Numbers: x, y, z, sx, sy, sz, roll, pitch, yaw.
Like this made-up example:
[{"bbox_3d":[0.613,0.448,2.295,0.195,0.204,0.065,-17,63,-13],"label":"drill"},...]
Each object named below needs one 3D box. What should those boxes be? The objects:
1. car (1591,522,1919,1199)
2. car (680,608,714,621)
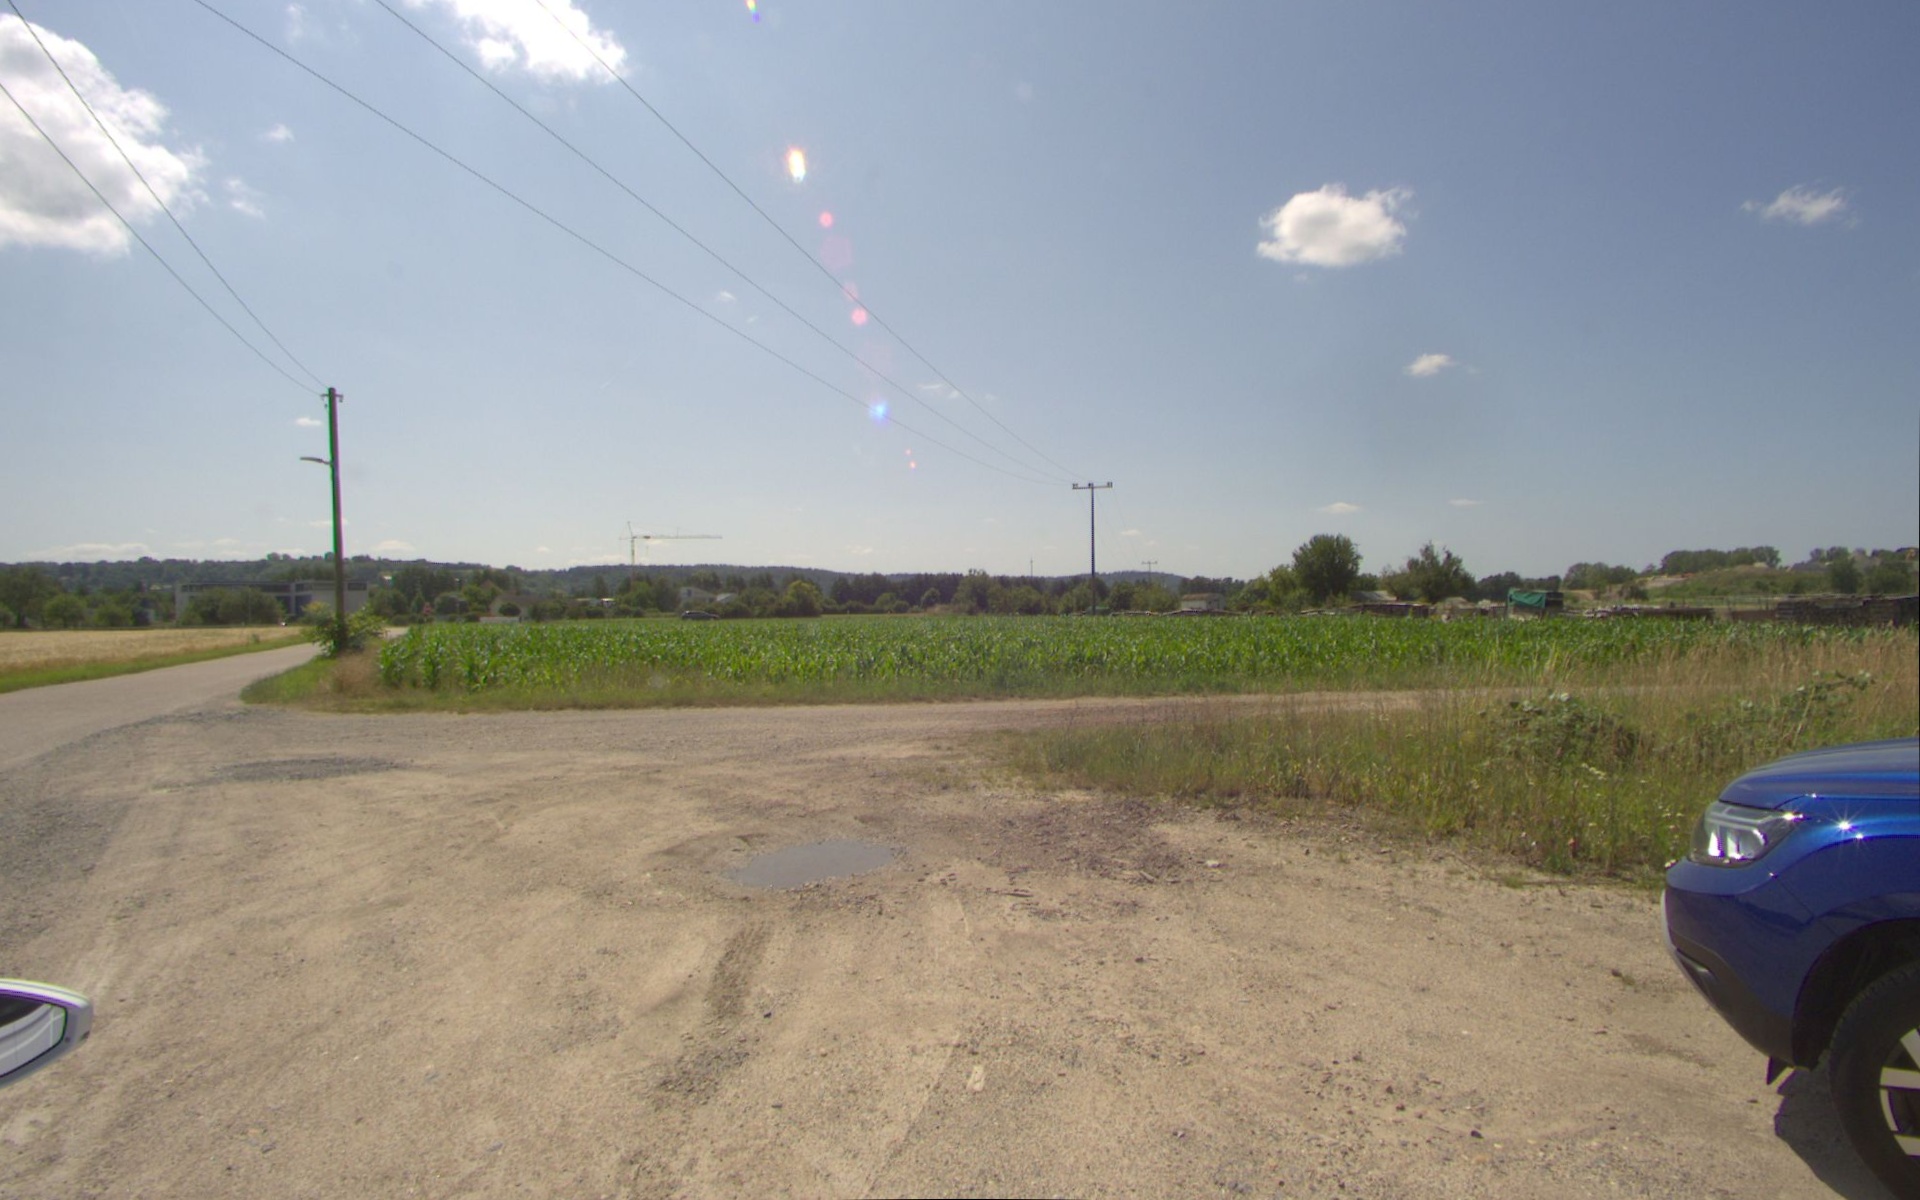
[{"bbox_3d":[3.932,0.626,1.766,1.843,1.682,4.423,1,-2,-39],"label":"car"},{"bbox_3d":[-33.569,1.842,127.877,4.214,1.522,1.814,-1,0,-14],"label":"car"}]
